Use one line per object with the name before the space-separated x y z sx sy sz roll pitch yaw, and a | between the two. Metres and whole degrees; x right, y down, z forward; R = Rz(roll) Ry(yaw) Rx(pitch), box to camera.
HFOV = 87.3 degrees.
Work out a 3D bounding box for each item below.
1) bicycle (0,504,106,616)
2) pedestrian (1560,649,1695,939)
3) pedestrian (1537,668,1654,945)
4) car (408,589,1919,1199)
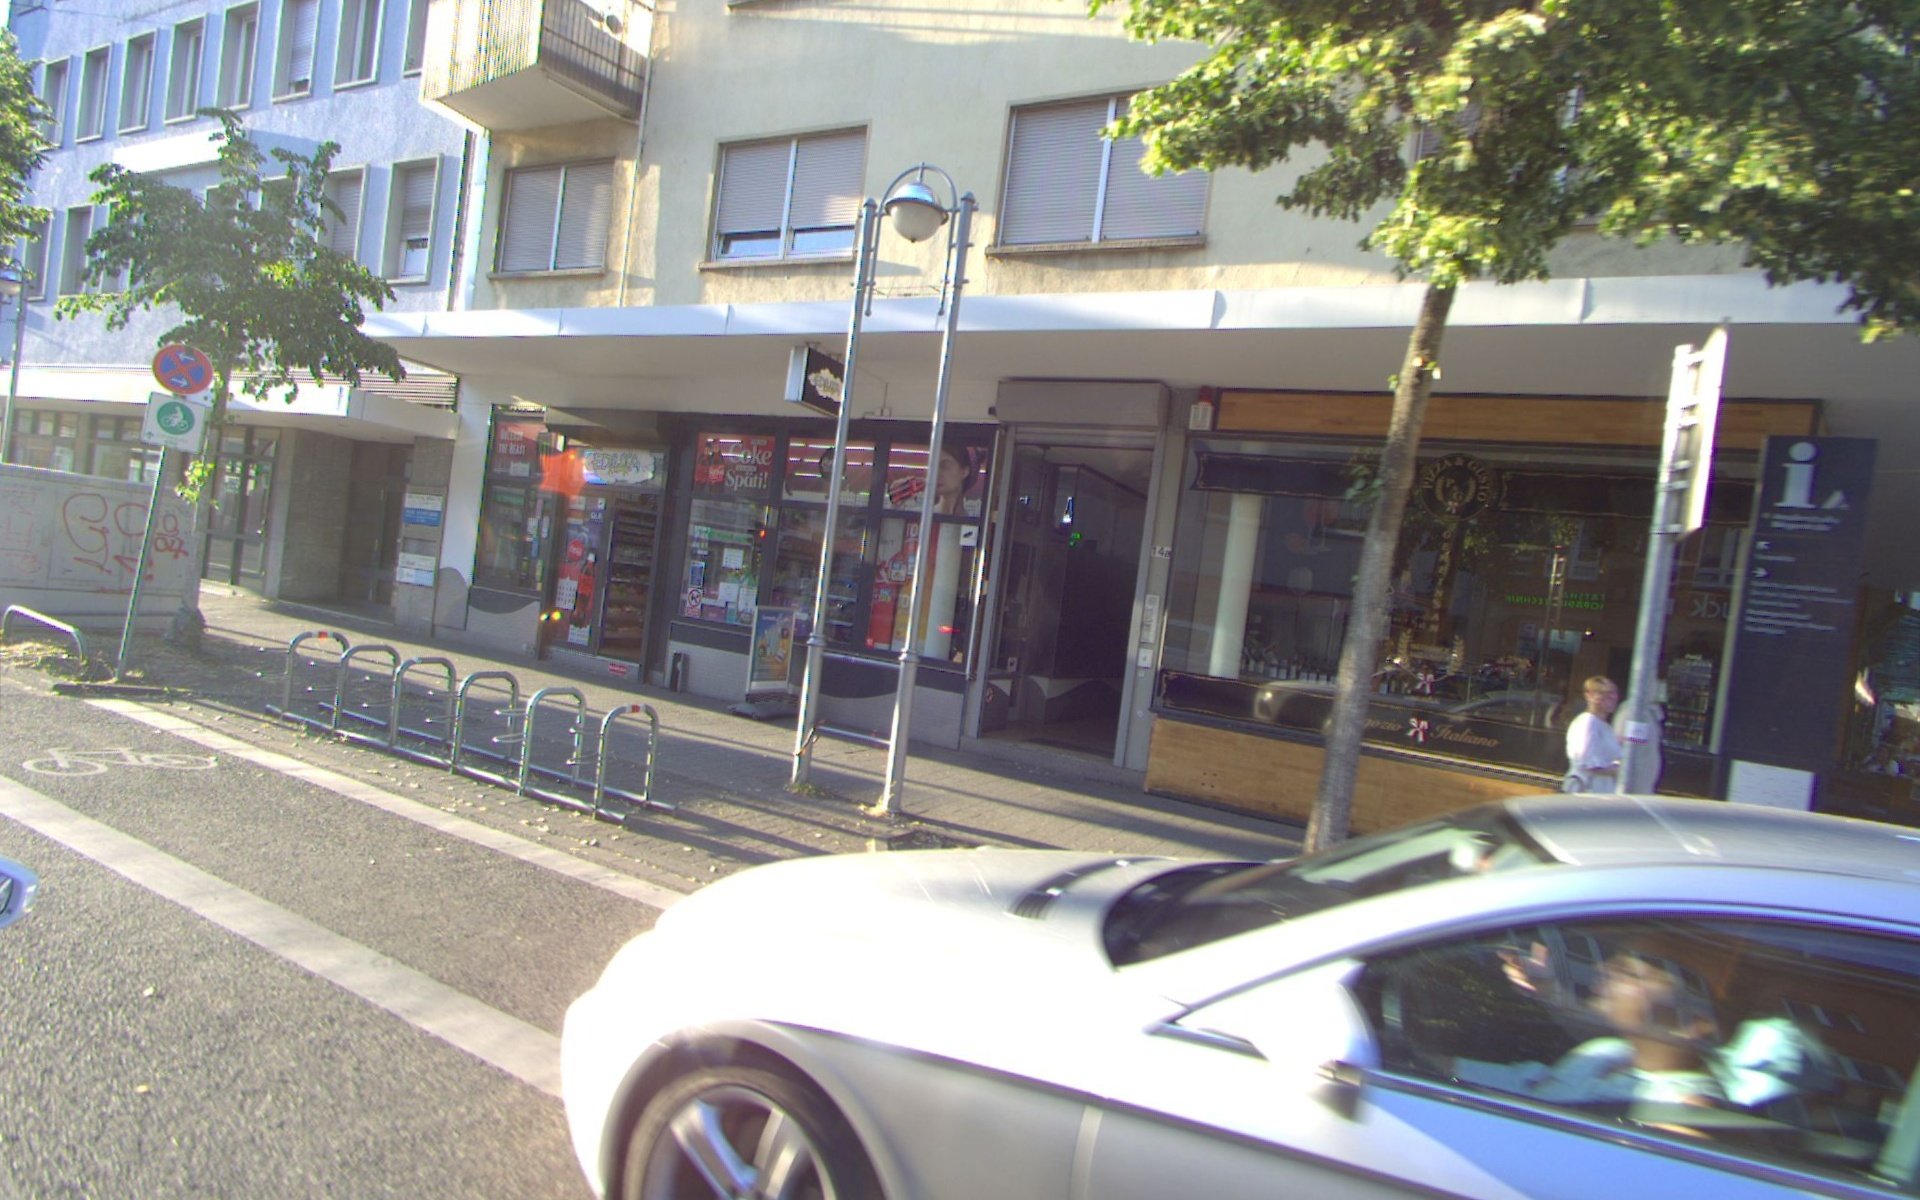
bicycle | -11.275 -0.499 12.051 0.377 1.234 1.444 7 -1 30
pedestrian | 4.411 1.246 6.690 0.493 1.782 0.543 8 4 28
pedestrian | 3.996 1.268 6.361 0.401 1.615 0.520 8 4 28
car | 1.226 1.023 2.006 4.558 1.417 1.747 8 -1 28
